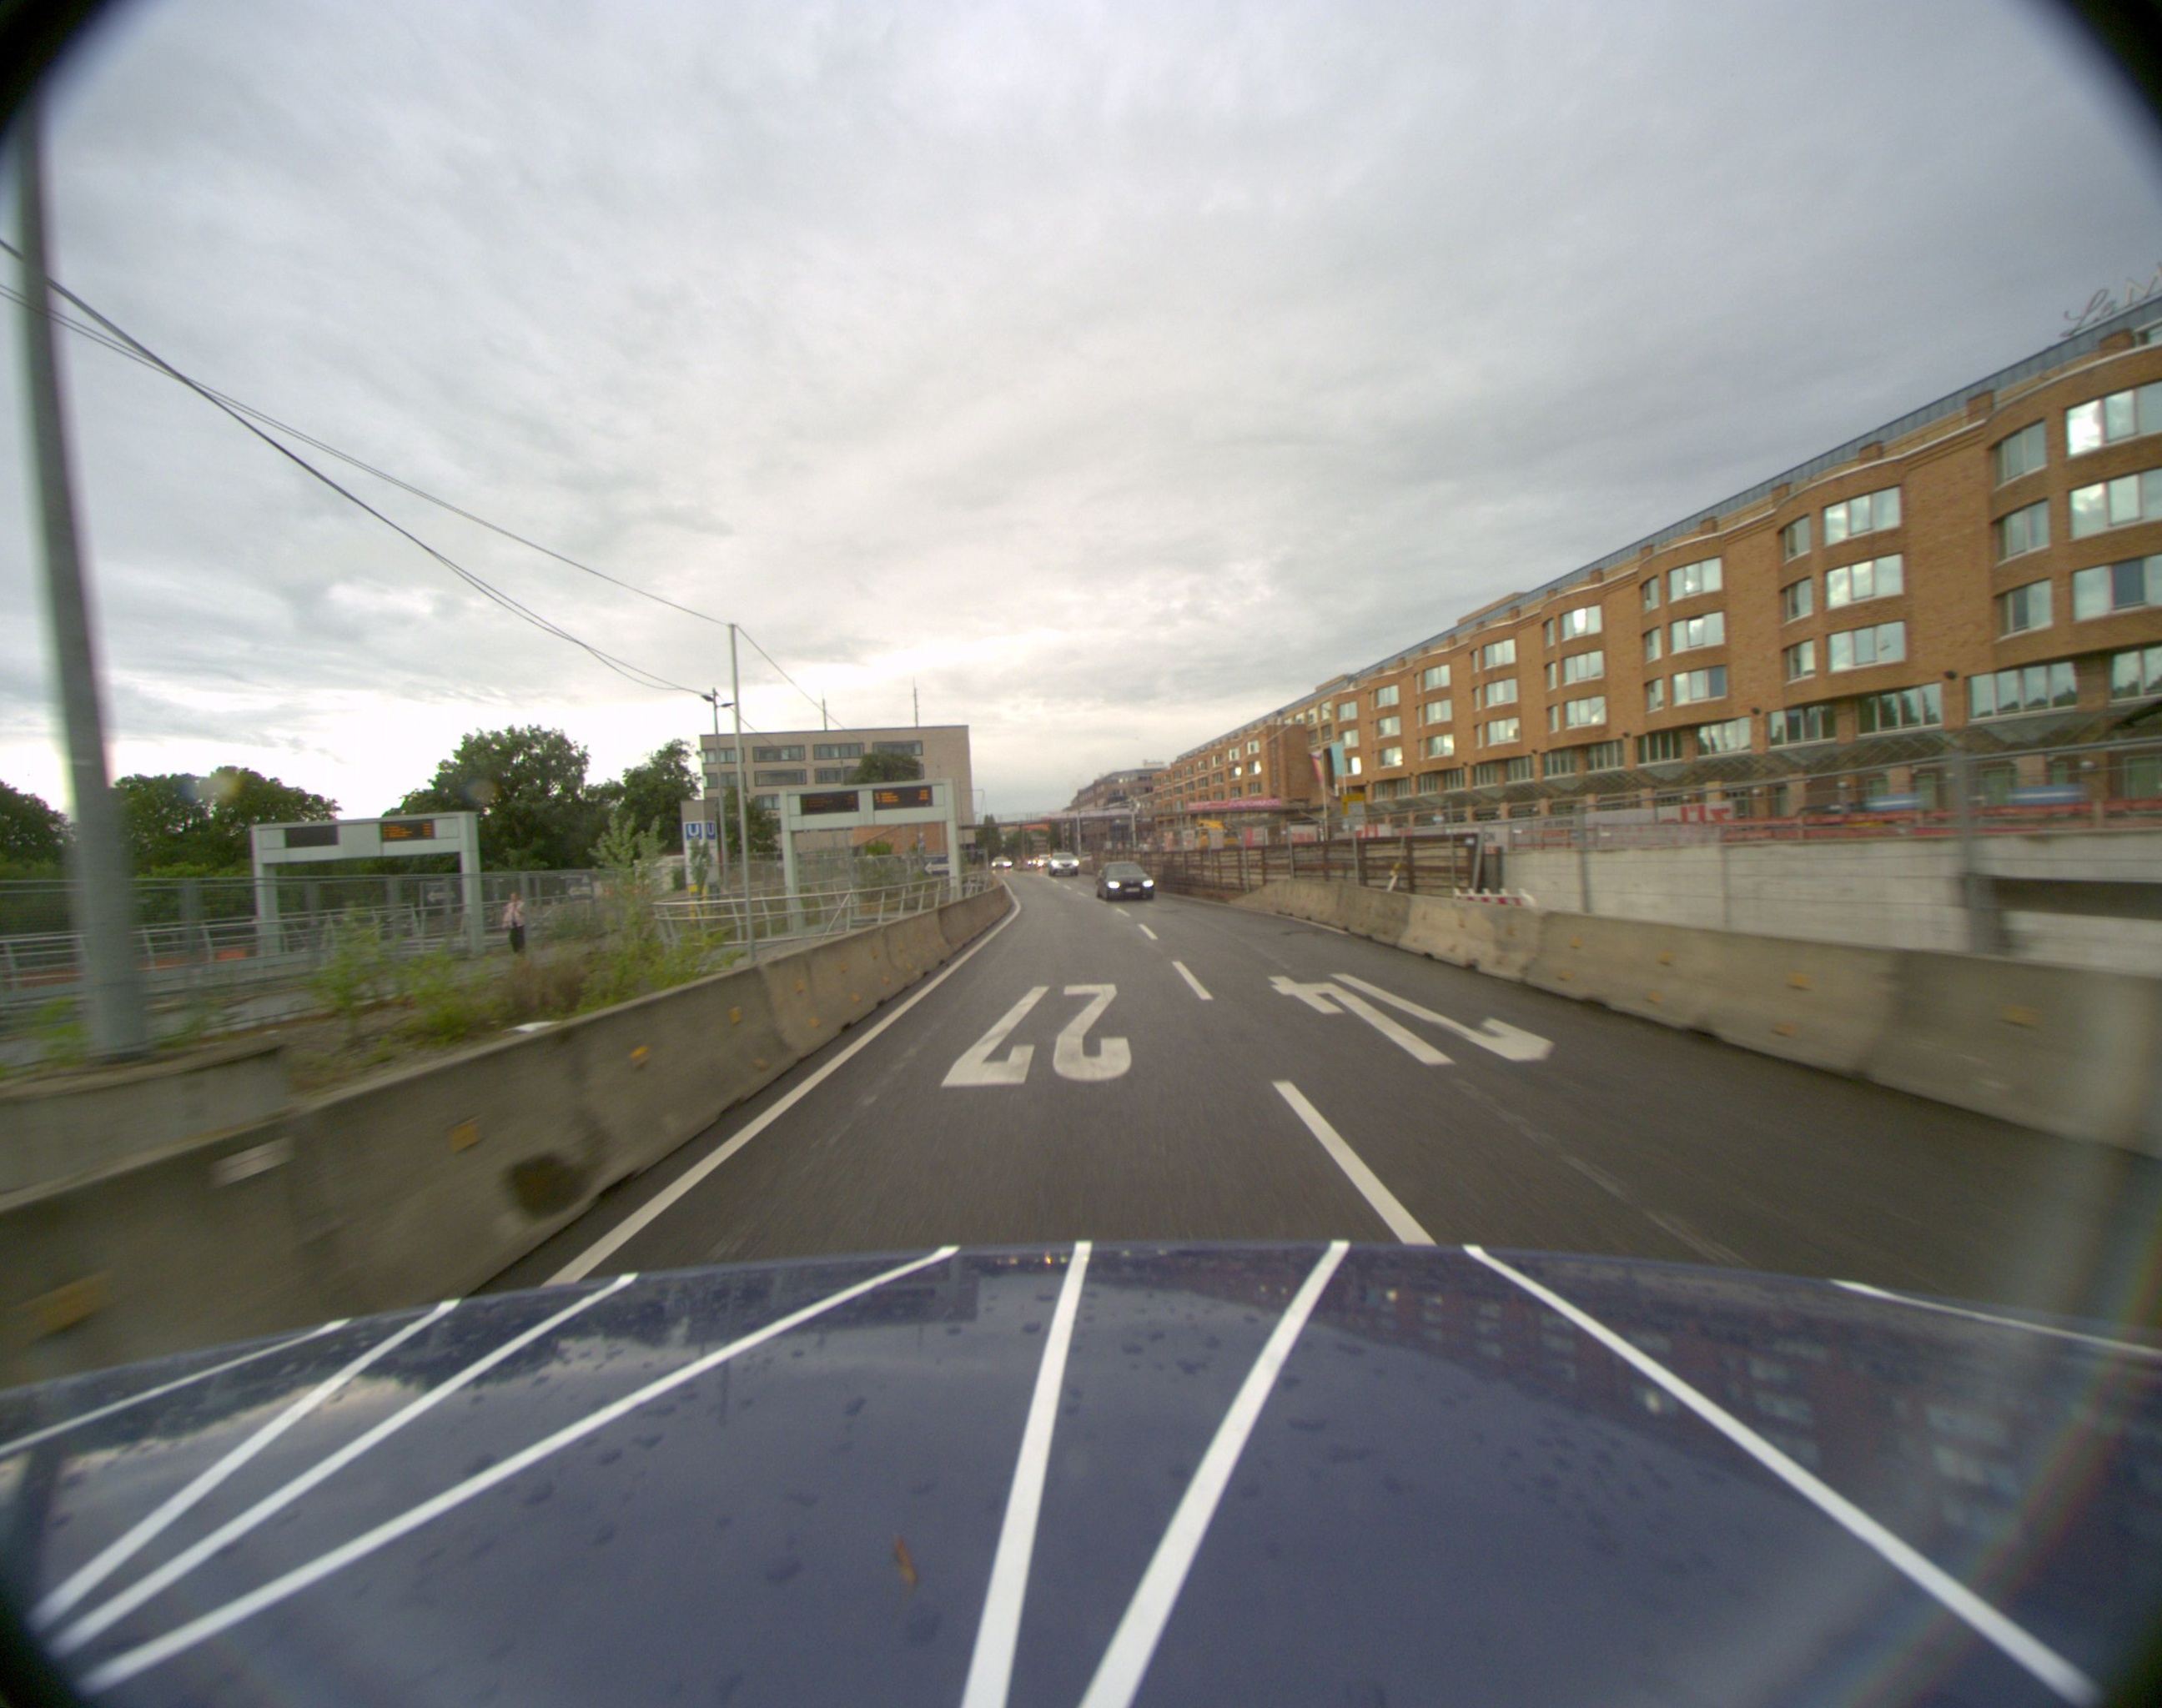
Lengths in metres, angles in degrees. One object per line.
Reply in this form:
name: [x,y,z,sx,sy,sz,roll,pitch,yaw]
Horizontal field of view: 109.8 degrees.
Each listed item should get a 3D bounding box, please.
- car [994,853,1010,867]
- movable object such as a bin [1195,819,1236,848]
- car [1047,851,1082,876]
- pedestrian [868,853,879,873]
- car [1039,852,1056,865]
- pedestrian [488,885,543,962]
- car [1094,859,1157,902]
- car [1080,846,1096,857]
car: [-9.530,0.708,91.703,1.773,1.524,4.653,-4,0,-7]
movable object such as a bin: [11.047,-1.647,62.793,2.033,2.264,4.289,0,0,-10]
car: [-1.215,0.659,53.572,1.773,1.524,4.653,-4,0,-9]
pedestrian: [-18.262,0.775,66.957,0.692,1.768,0.813,-3,2,-27]
car: [-4.492,0.612,101.265,1.773,1.524,4.654,-4,0,-6]
pedestrian: [-13.786,1.684,18.552,0.692,1.768,0.814,-3,2,-11]
car: [1.641,0.967,29.565,1.773,1.435,4.654,-4,0,-4]
car: [1.084,-0.341,119.823,1.753,1.540,4.519,-3,0,-10]
